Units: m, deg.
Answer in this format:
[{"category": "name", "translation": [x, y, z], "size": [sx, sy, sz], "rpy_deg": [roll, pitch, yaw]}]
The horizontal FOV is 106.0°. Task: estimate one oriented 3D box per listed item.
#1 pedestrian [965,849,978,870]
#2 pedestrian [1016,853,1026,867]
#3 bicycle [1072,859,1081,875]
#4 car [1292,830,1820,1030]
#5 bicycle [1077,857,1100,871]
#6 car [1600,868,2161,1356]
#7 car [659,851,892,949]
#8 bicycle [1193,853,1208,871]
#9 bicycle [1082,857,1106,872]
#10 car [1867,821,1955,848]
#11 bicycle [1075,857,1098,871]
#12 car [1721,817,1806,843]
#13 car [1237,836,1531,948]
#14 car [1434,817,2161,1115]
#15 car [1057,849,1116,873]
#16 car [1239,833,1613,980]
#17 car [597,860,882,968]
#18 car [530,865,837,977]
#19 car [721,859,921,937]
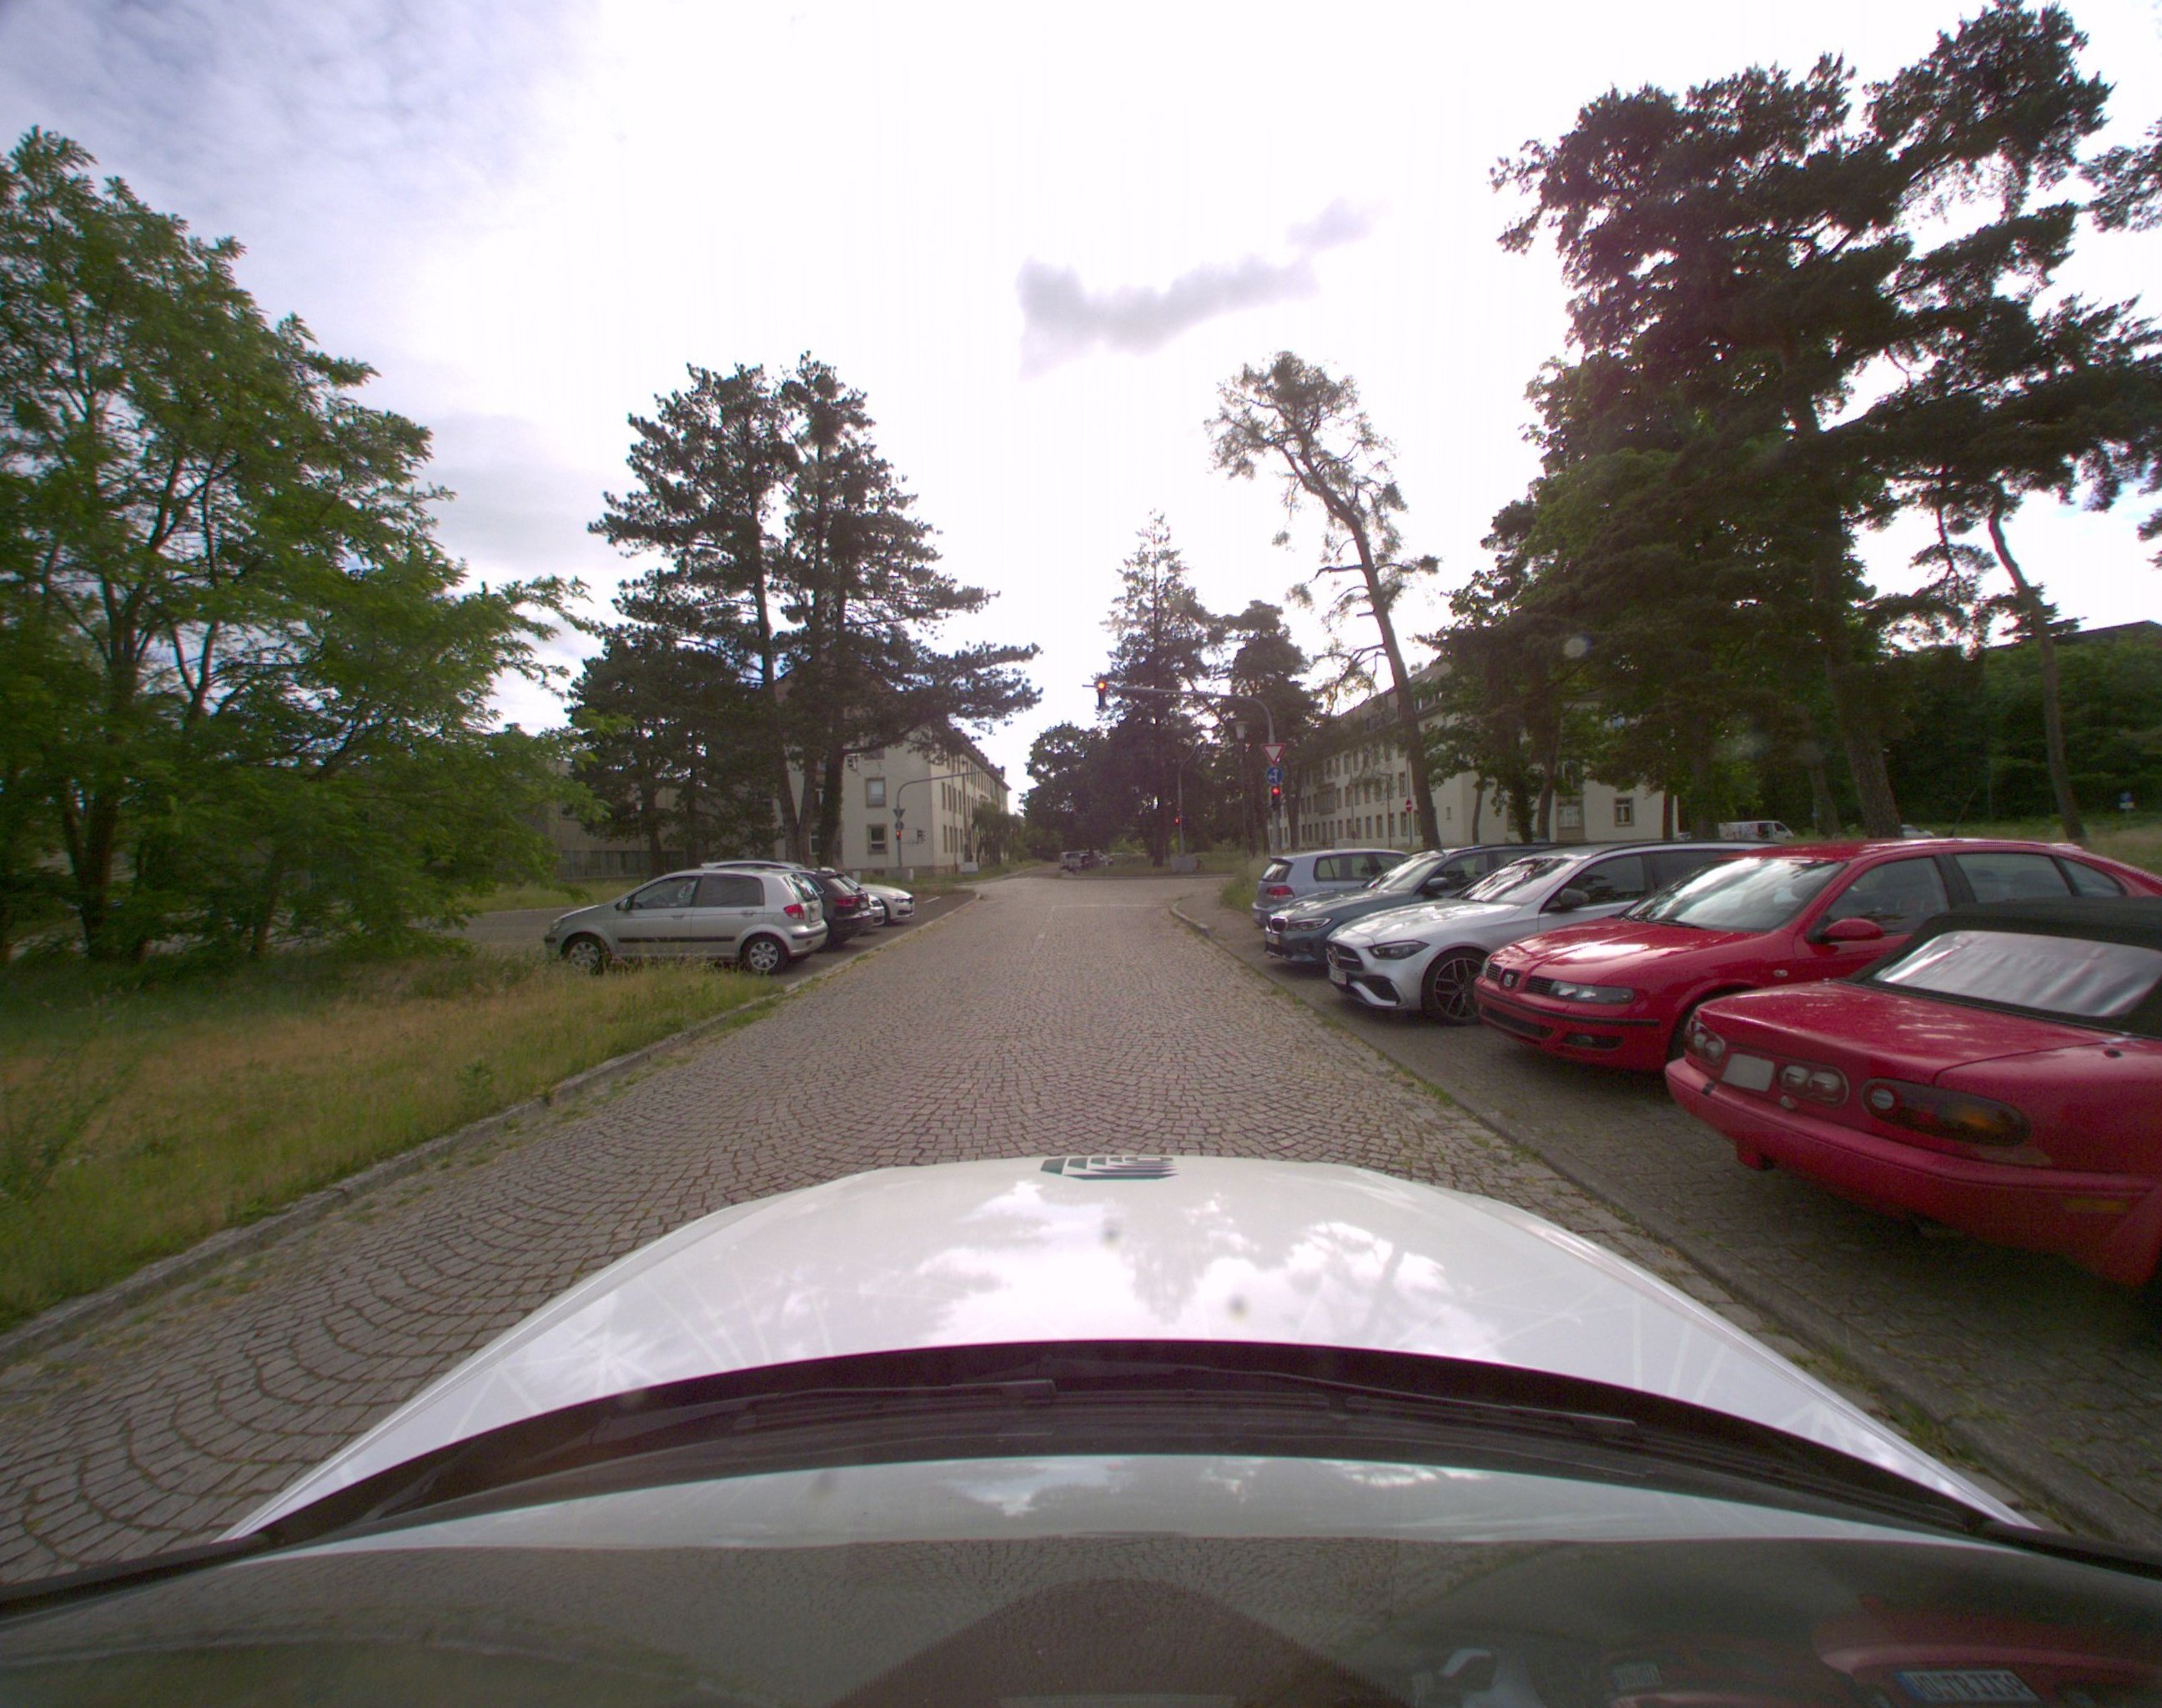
[{"category": "pedestrian", "translation": [-10.439, 0.533, 77.549], "size": [1.071, 1.959, 1.121], "rpy_deg": [-1, 0, 0]}, {"category": "pedestrian", "translation": [-8.101, 0.816, 109.582], "size": [1.238, 1.959, 1.119], "rpy_deg": [-1, 0, -6]}, {"category": "bicycle", "translation": [-0.321, 0.973, 60.579], "size": [0.660, 1.171, 1.887], "rpy_deg": [-1, 0, 0]}, {"category": "car", "translation": [4.402, 0.623, 7.866], "size": [4.183, 1.437, 1.750], "rpy_deg": [-3, 0, -8]}, {"category": "bicycle", "translation": [0.614, 0.843, 67.772], "size": [1.879, 1.171, 0.663], "rpy_deg": [-1, 0, -6]}, {"category": "car", "translation": [4.336, 0.736, 3.161], "size": [3.574, 1.223, 1.629], "rpy_deg": [-3, 0, 0]}, {"category": "car", "translation": [-6.404, 0.928, 17.472], "size": [4.292, 1.732, 1.649], "rpy_deg": [-3, 0, -6]}, {"category": "bicycle", "translation": [7.343, 0.471, 50.078], "size": [0.660, 1.051, 1.887], "rpy_deg": [-1, 0, 0]}, {"category": "bicycle", "translation": [1.014, 0.826, 65.235], "size": [1.879, 1.171, 0.663], "rpy_deg": [-1, 0, -6]}, {"category": "car", "translation": [57.426, -1.335, 56.423], "size": [4.118, 1.804, 1.900], "rpy_deg": [-1, 0, 1]}, {"category": "bicycle", "translation": [0.496, 0.848, 68.723], "size": [1.879, 1.171, 0.663], "rpy_deg": [-1, 0, -6]}, {"category": "car", "translation": [56.201, -1.967, 67.136], "size": [5.283, 2.019, 2.105], "rpy_deg": [-1, 0, 0]}, {"category": "car", "translation": [4.802, 0.568, 13.192], "size": [4.130, 1.463, 1.630], "rpy_deg": [-3, 0, -6]}, {"category": "car", "translation": [4.822, 0.613, 5.512], "size": [4.095, 1.476, 1.683], "rpy_deg": [-3, 0, -3]}, {"category": "car", "translation": [0.517, 0.664, 80.030], "size": [5.382, 2.101, 2.169], "rpy_deg": [-2, 0, -13]}, {"category": "car", "translation": [4.409, 0.602, 10.633], "size": [4.231, 1.479, 1.703], "rpy_deg": [-3, 0, -11]}, {"category": "car", "translation": [-5.956, 1.006, 14.675], "size": [4.293, 1.554, 1.808], "rpy_deg": [-3, 0, -7]}, {"category": "car", "translation": [-5.716, 0.929, 12.083], "size": [3.712, 1.481, 1.671], "rpy_deg": [0, 0, -4]}, {"category": "car", "translation": [-6.221, 1.028, 19.928], "size": [4.293, 1.554, 1.808], "rpy_deg": [-3, 0, -7]}]
